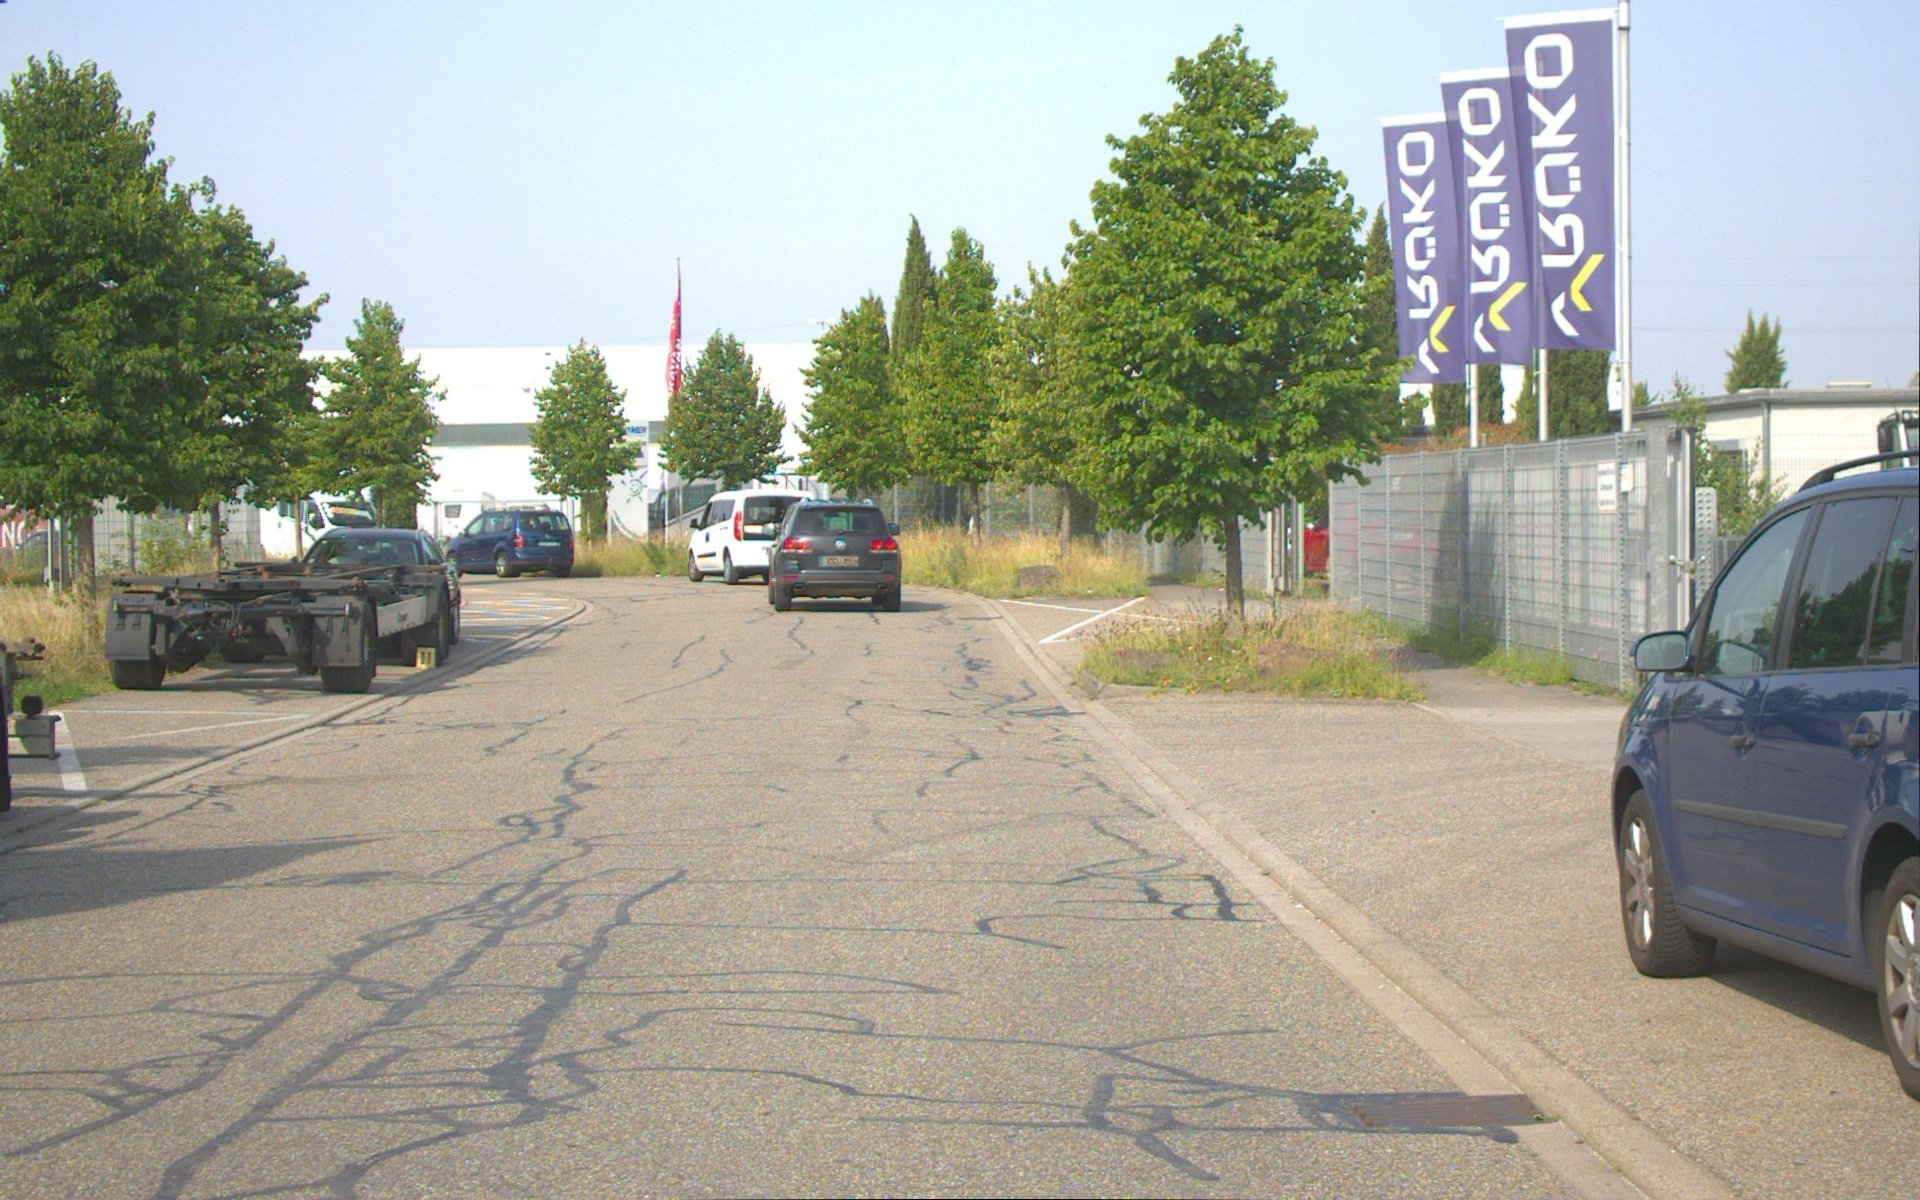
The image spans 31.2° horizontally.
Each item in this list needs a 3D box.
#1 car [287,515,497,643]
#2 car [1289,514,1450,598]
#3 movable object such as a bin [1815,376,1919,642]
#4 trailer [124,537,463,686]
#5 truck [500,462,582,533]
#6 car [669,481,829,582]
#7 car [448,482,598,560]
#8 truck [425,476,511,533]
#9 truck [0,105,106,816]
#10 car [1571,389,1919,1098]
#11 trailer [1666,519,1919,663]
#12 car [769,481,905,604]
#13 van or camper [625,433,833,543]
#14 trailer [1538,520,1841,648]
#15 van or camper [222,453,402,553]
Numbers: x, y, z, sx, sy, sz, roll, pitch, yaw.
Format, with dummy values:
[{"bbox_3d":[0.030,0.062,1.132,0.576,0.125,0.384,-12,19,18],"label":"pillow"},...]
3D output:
[{"bbox_3d":[-7.170,-0.304,43.816,1.993,1.461,4.433,1,2,-1],"label":"car"},{"bbox_3d":[7.157,-0.798,60.511,1.880,1.353,4.775,-1,2,-5],"label":"car"},{"bbox_3d":[10.823,-1.000,36.988,1.886,2.742,5.160,-1,2,-1],"label":"movable object such as a bin"},{"bbox_3d":[-6.765,0.040,35.791,2.130,1.228,7.158,1,2,0],"label":"trailer"},{"bbox_3d":[-17.266,-4.249,142.025,2.450,2.816,8.003,0,2,-1],"label":"truck"},{"bbox_3d":[-4.180,-1.375,67.595,1.993,1.893,4.469,-1,2,-19],"label":"car"},{"bbox_3d":[-10.503,-1.899,82.437,1.994,1.798,4.000,0,2,-33],"label":"car"},{"bbox_3d":[-20.248,-3.975,141.783,2.450,2.257,8.003,0,2,-1],"label":"truck"},{"bbox_3d":[-6.449,-0.717,16.054,2.455,3.868,9.803,1,1,0],"label":"truck"},{"bbox_3d":[3.161,0.313,10.058,1.825,1.714,4.249,0,1,-2],"label":"car"},{"bbox_3d":[8.352,-0.136,33.335,1.944,1.239,4.295,-1,2,-3],"label":"trailer"},{"bbox_3d":[-1.860,-0.918,52.986,1.993,1.798,4.001,1,2,-1],"label":"car"},{"bbox_3d":[-6.291,-2.985,92.408,2.349,2.838,7.342,-1,2,-32],"label":"van or camper"},{"bbox_3d":[7.967,-0.221,38.034,2.126,1.239,4.797,-1,2,-3],"label":"trailer"},{"bbox_3d":[-19.739,-2.941,104.504,2.331,2.933,6.969,-2,2,-39],"label":"van or camper"}]
